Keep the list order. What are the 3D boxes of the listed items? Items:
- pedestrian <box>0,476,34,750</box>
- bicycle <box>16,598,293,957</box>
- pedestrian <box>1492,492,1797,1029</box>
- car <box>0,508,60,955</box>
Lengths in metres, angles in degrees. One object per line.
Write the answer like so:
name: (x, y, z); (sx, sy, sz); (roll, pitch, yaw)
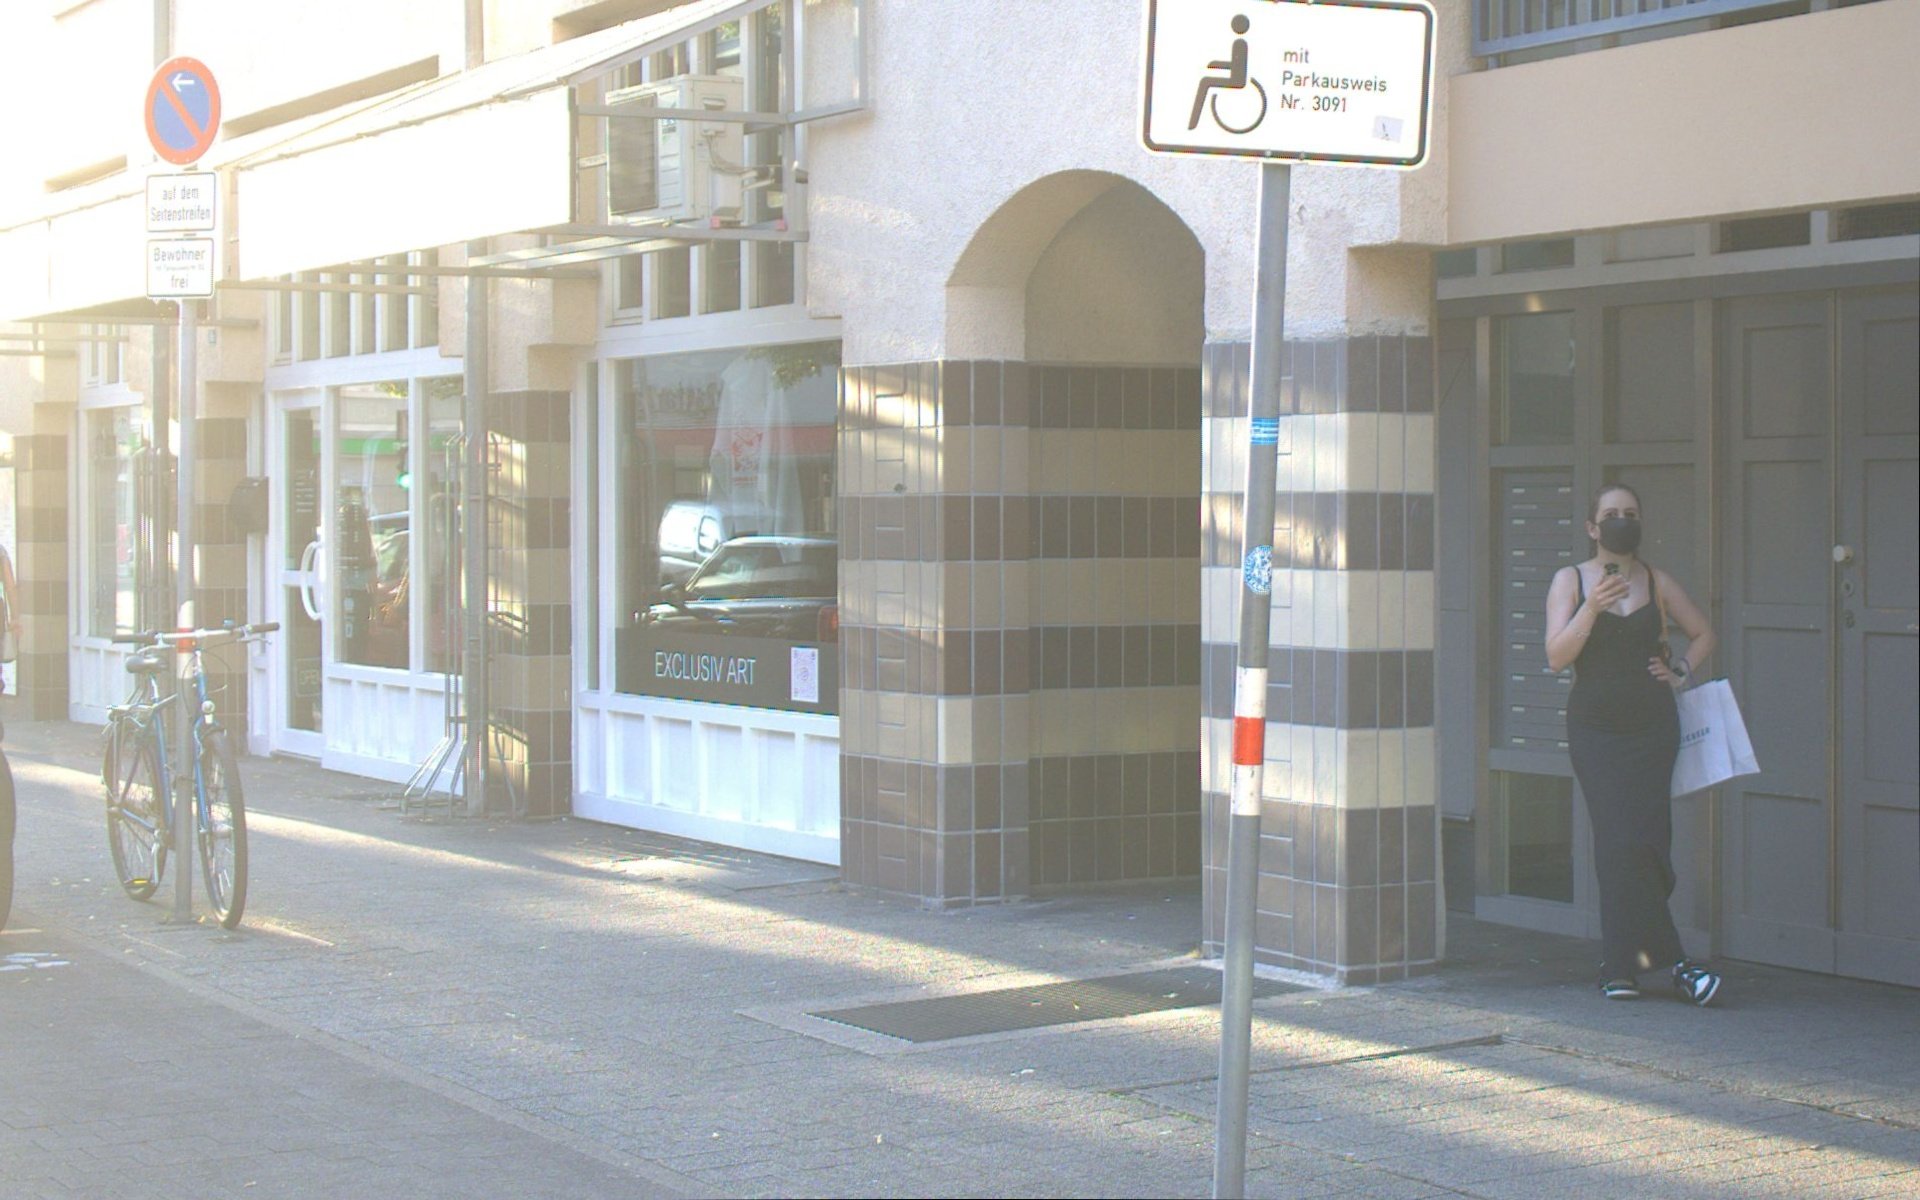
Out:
pedestrian: (-6.205, 0.074, 21.537); (0.559, 1.694, 0.832); (-1, 2, -30)
bicycle: (-3.081, 0.621, 13.024); (0.558, 1.202, 1.978); (0, 2, -27)
pedestrian: (2.041, 0.463, 10.309); (0.776, 1.567, 0.534); (0, 1, -2)
car: (-4.997, 0.419, 13.421); (1.789, 1.575, 3.967); (-1, 2, -32)
